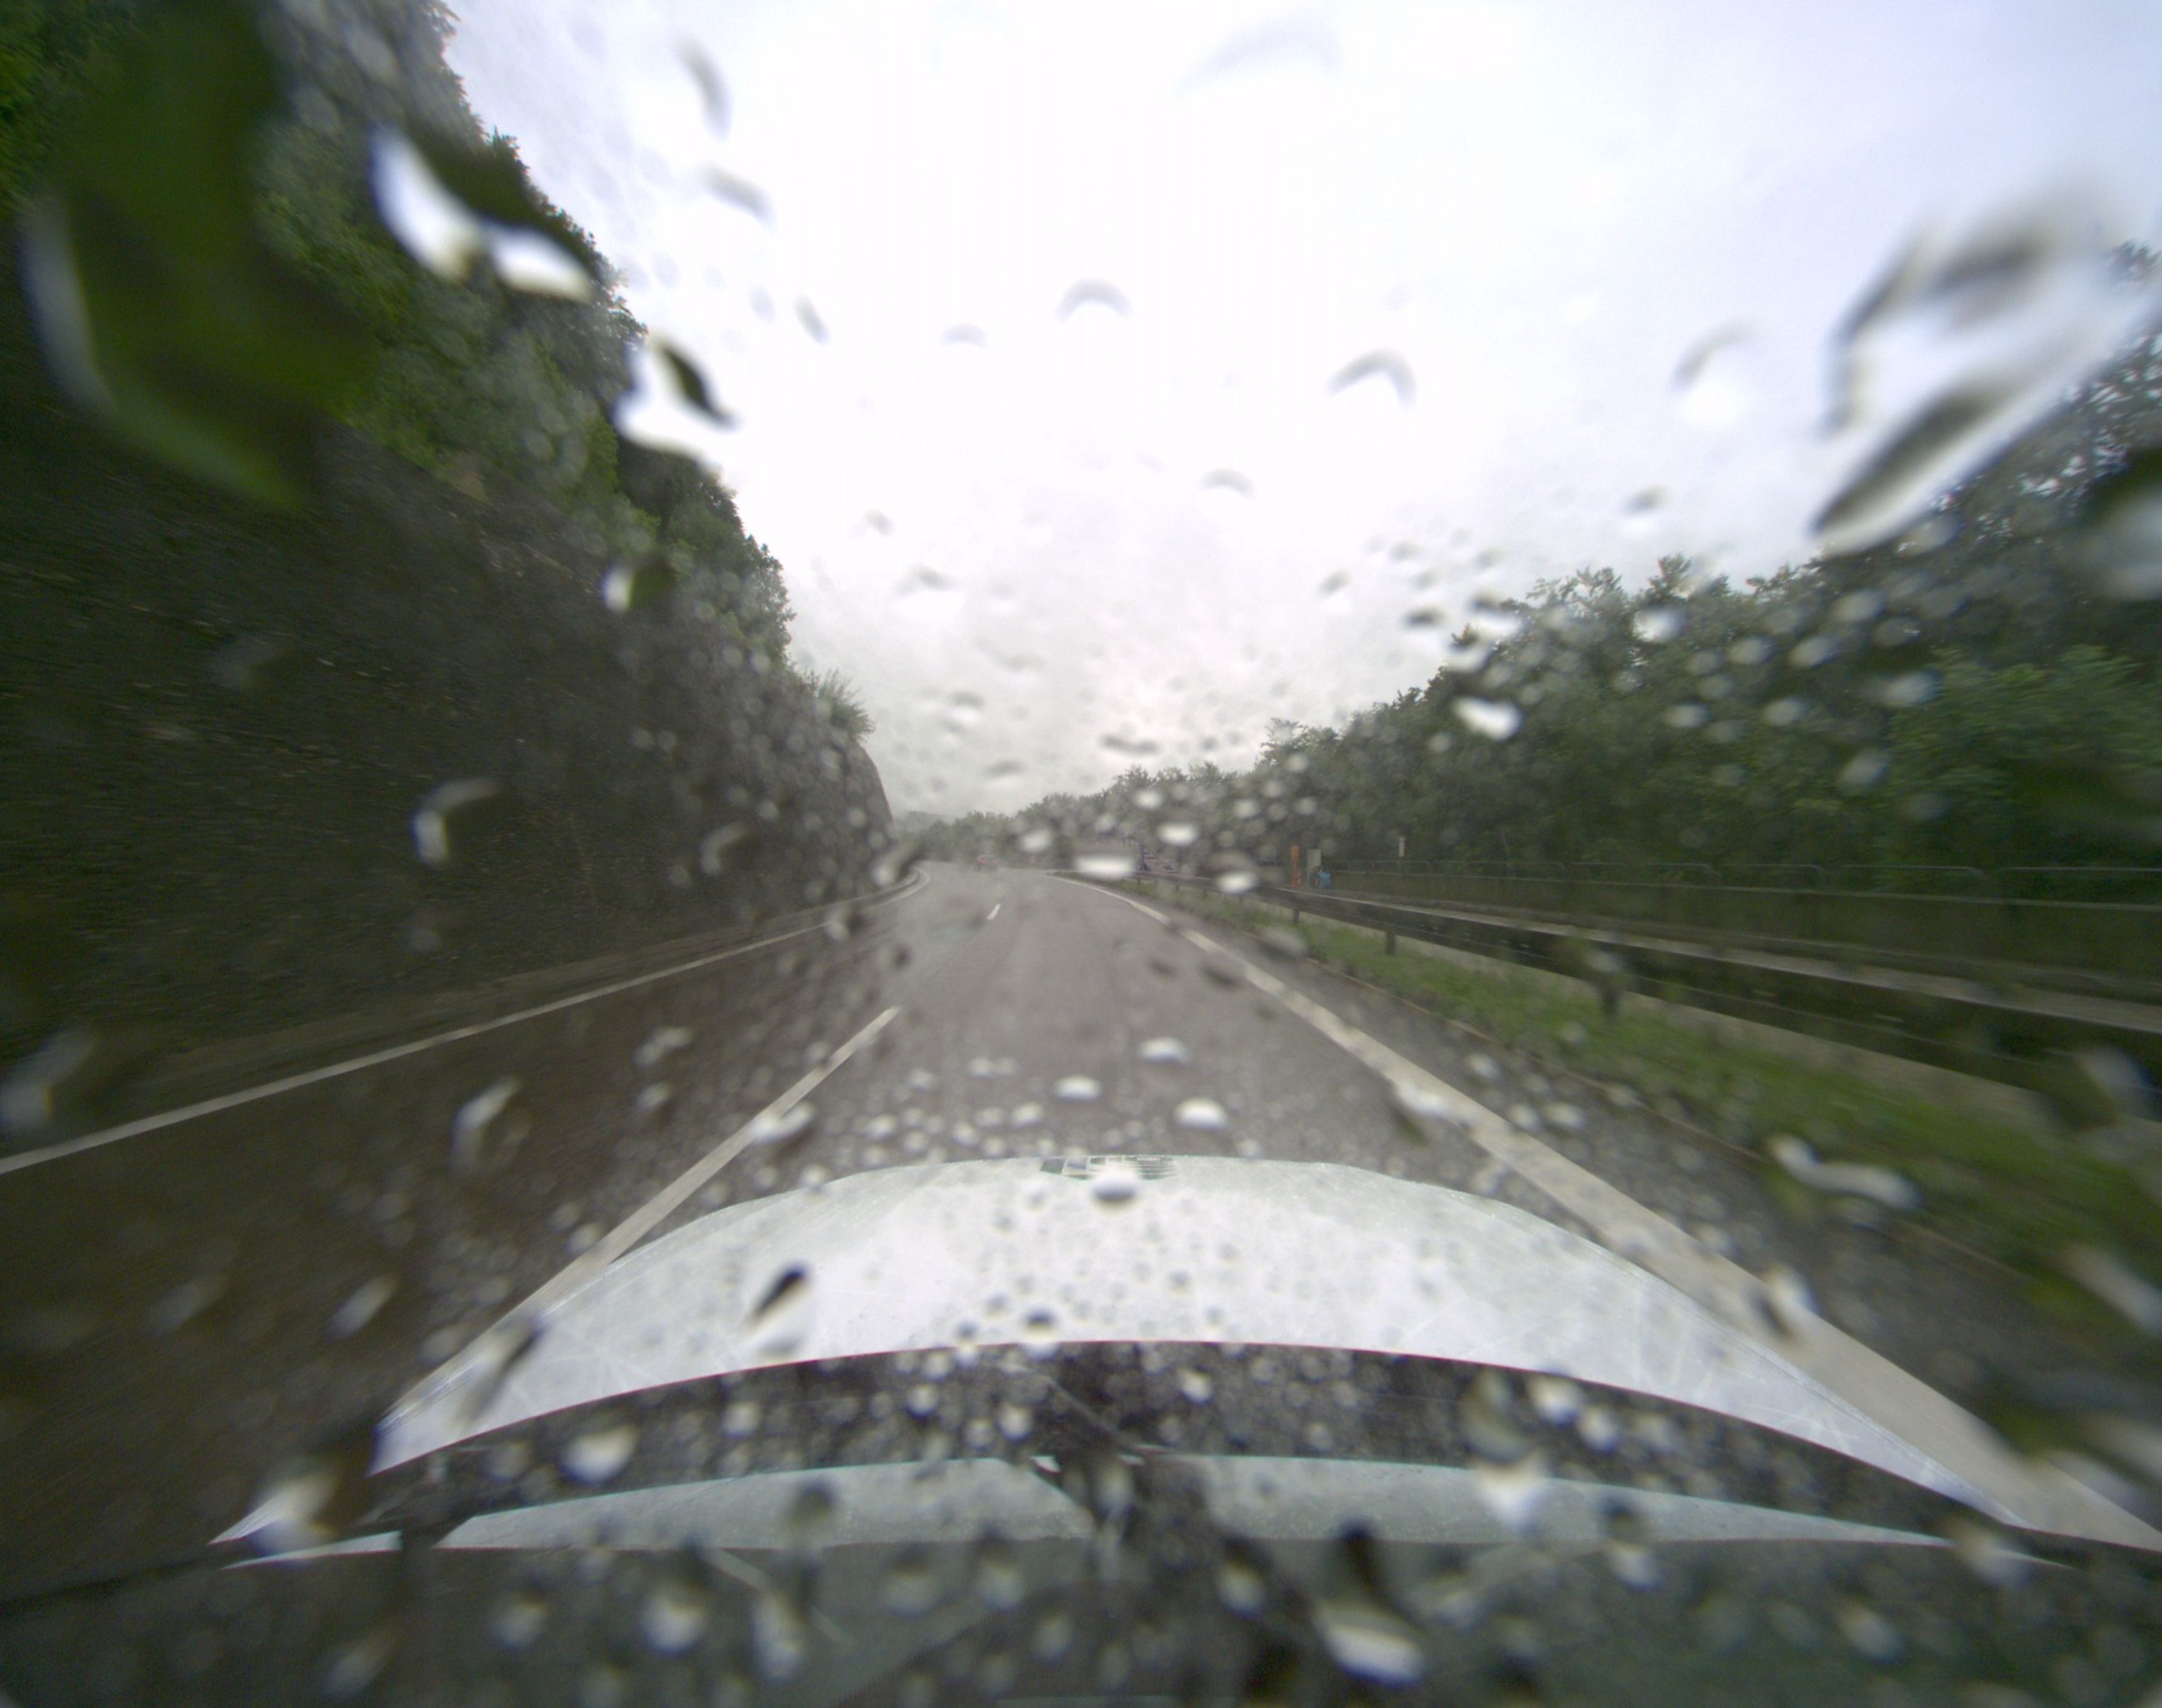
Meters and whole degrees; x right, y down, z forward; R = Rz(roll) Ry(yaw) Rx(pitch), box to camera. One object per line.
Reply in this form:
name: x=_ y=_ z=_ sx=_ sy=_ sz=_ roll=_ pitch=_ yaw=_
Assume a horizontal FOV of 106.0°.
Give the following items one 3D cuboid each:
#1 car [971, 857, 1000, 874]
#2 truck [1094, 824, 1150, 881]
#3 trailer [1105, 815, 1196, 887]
car: x=-8.868 y=1.022 z=75.271 sx=1.909 sy=1.499 sz=3.976 roll=1 pitch=0 yaw=-18
truck: x=3.141 y=-0.092 z=64.178 sx=2.896 sy=4.245 sz=6.857 roll=-1 pitch=0 yaw=-10
trailer: x=4.411 y=-0.144 z=56.205 sx=2.891 sy=4.245 sz=14.653 roll=-1 pitch=0 yaw=-8
